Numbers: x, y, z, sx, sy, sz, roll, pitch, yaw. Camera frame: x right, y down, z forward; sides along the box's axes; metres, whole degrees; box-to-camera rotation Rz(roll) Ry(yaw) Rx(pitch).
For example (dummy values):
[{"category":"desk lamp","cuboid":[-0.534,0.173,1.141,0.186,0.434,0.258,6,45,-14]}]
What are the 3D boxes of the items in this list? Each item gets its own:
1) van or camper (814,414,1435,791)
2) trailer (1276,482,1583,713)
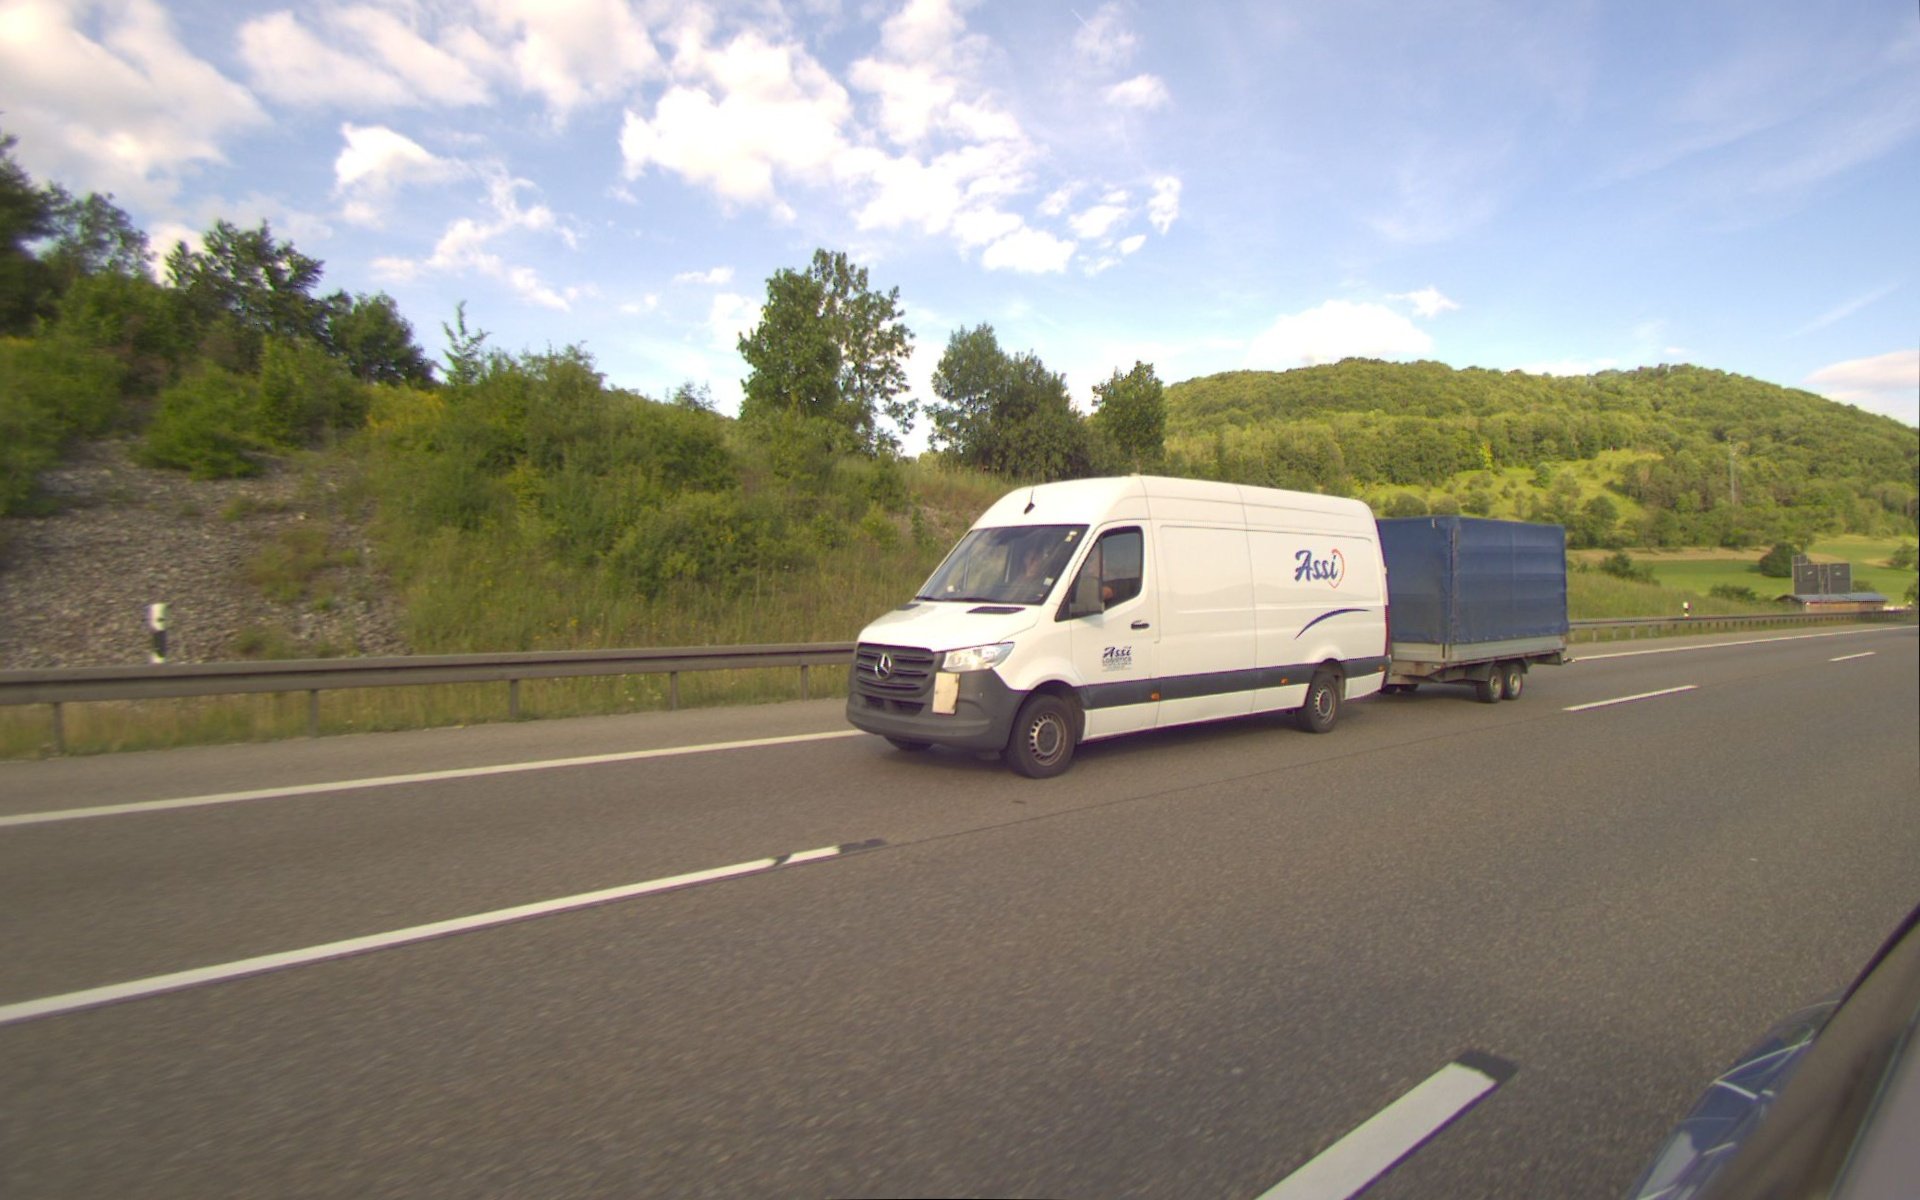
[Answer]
[{"category":"van or camper","cuboid":[2.192,0.022,10.521,7.387,2.752,1.998,0,0,-40]},{"category":"trailer","cuboid":[6.862,-0.052,14.510,5.155,2.760,1.997,0,0,-40]}]
